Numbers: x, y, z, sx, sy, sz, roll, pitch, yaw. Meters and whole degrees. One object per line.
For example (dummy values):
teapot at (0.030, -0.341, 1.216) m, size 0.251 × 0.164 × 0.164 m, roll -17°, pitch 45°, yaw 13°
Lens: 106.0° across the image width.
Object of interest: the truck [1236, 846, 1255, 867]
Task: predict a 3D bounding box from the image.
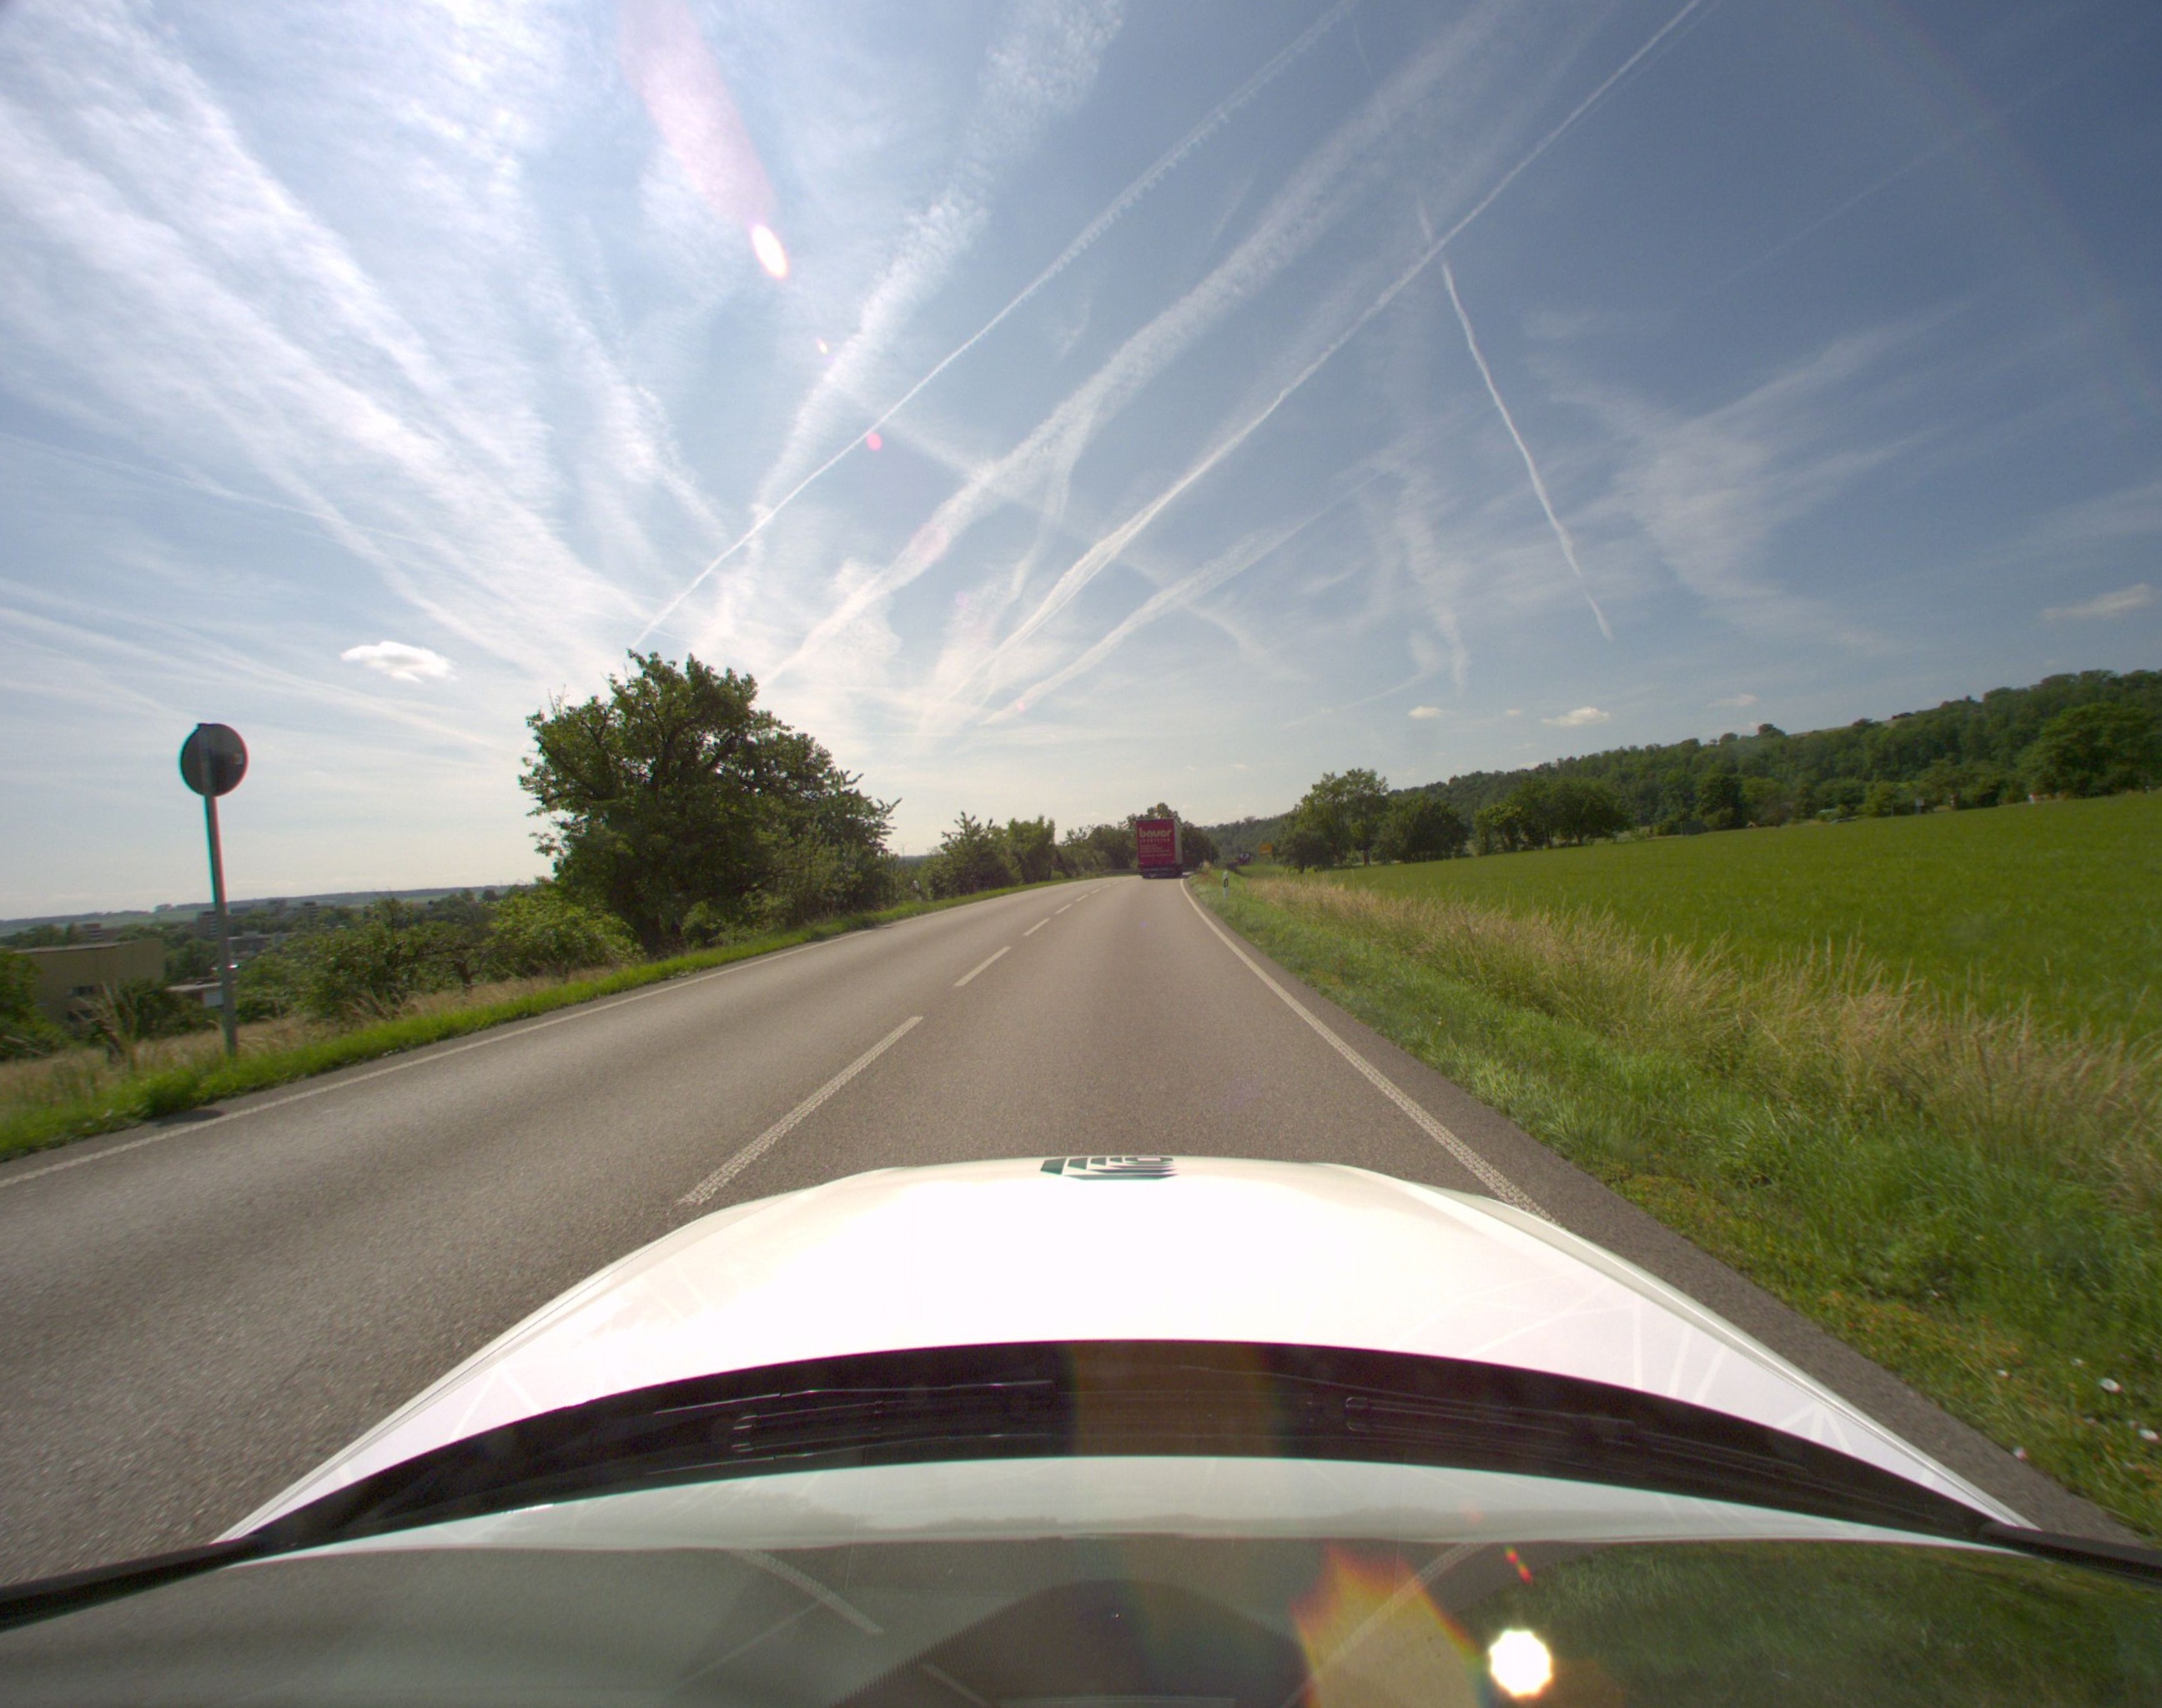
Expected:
truck at (40.971, 0.705, 202.353) m, size 3.877 × 4.690 × 16.433 m, roll -3°, pitch -2°, yaw 13°

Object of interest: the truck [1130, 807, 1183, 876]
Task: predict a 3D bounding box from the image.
truck at (5.656, -0.692, 58.917) m, size 3.094 × 4.506 × 12.195 m, roll 0°, pitch -1°, yaw 9°
